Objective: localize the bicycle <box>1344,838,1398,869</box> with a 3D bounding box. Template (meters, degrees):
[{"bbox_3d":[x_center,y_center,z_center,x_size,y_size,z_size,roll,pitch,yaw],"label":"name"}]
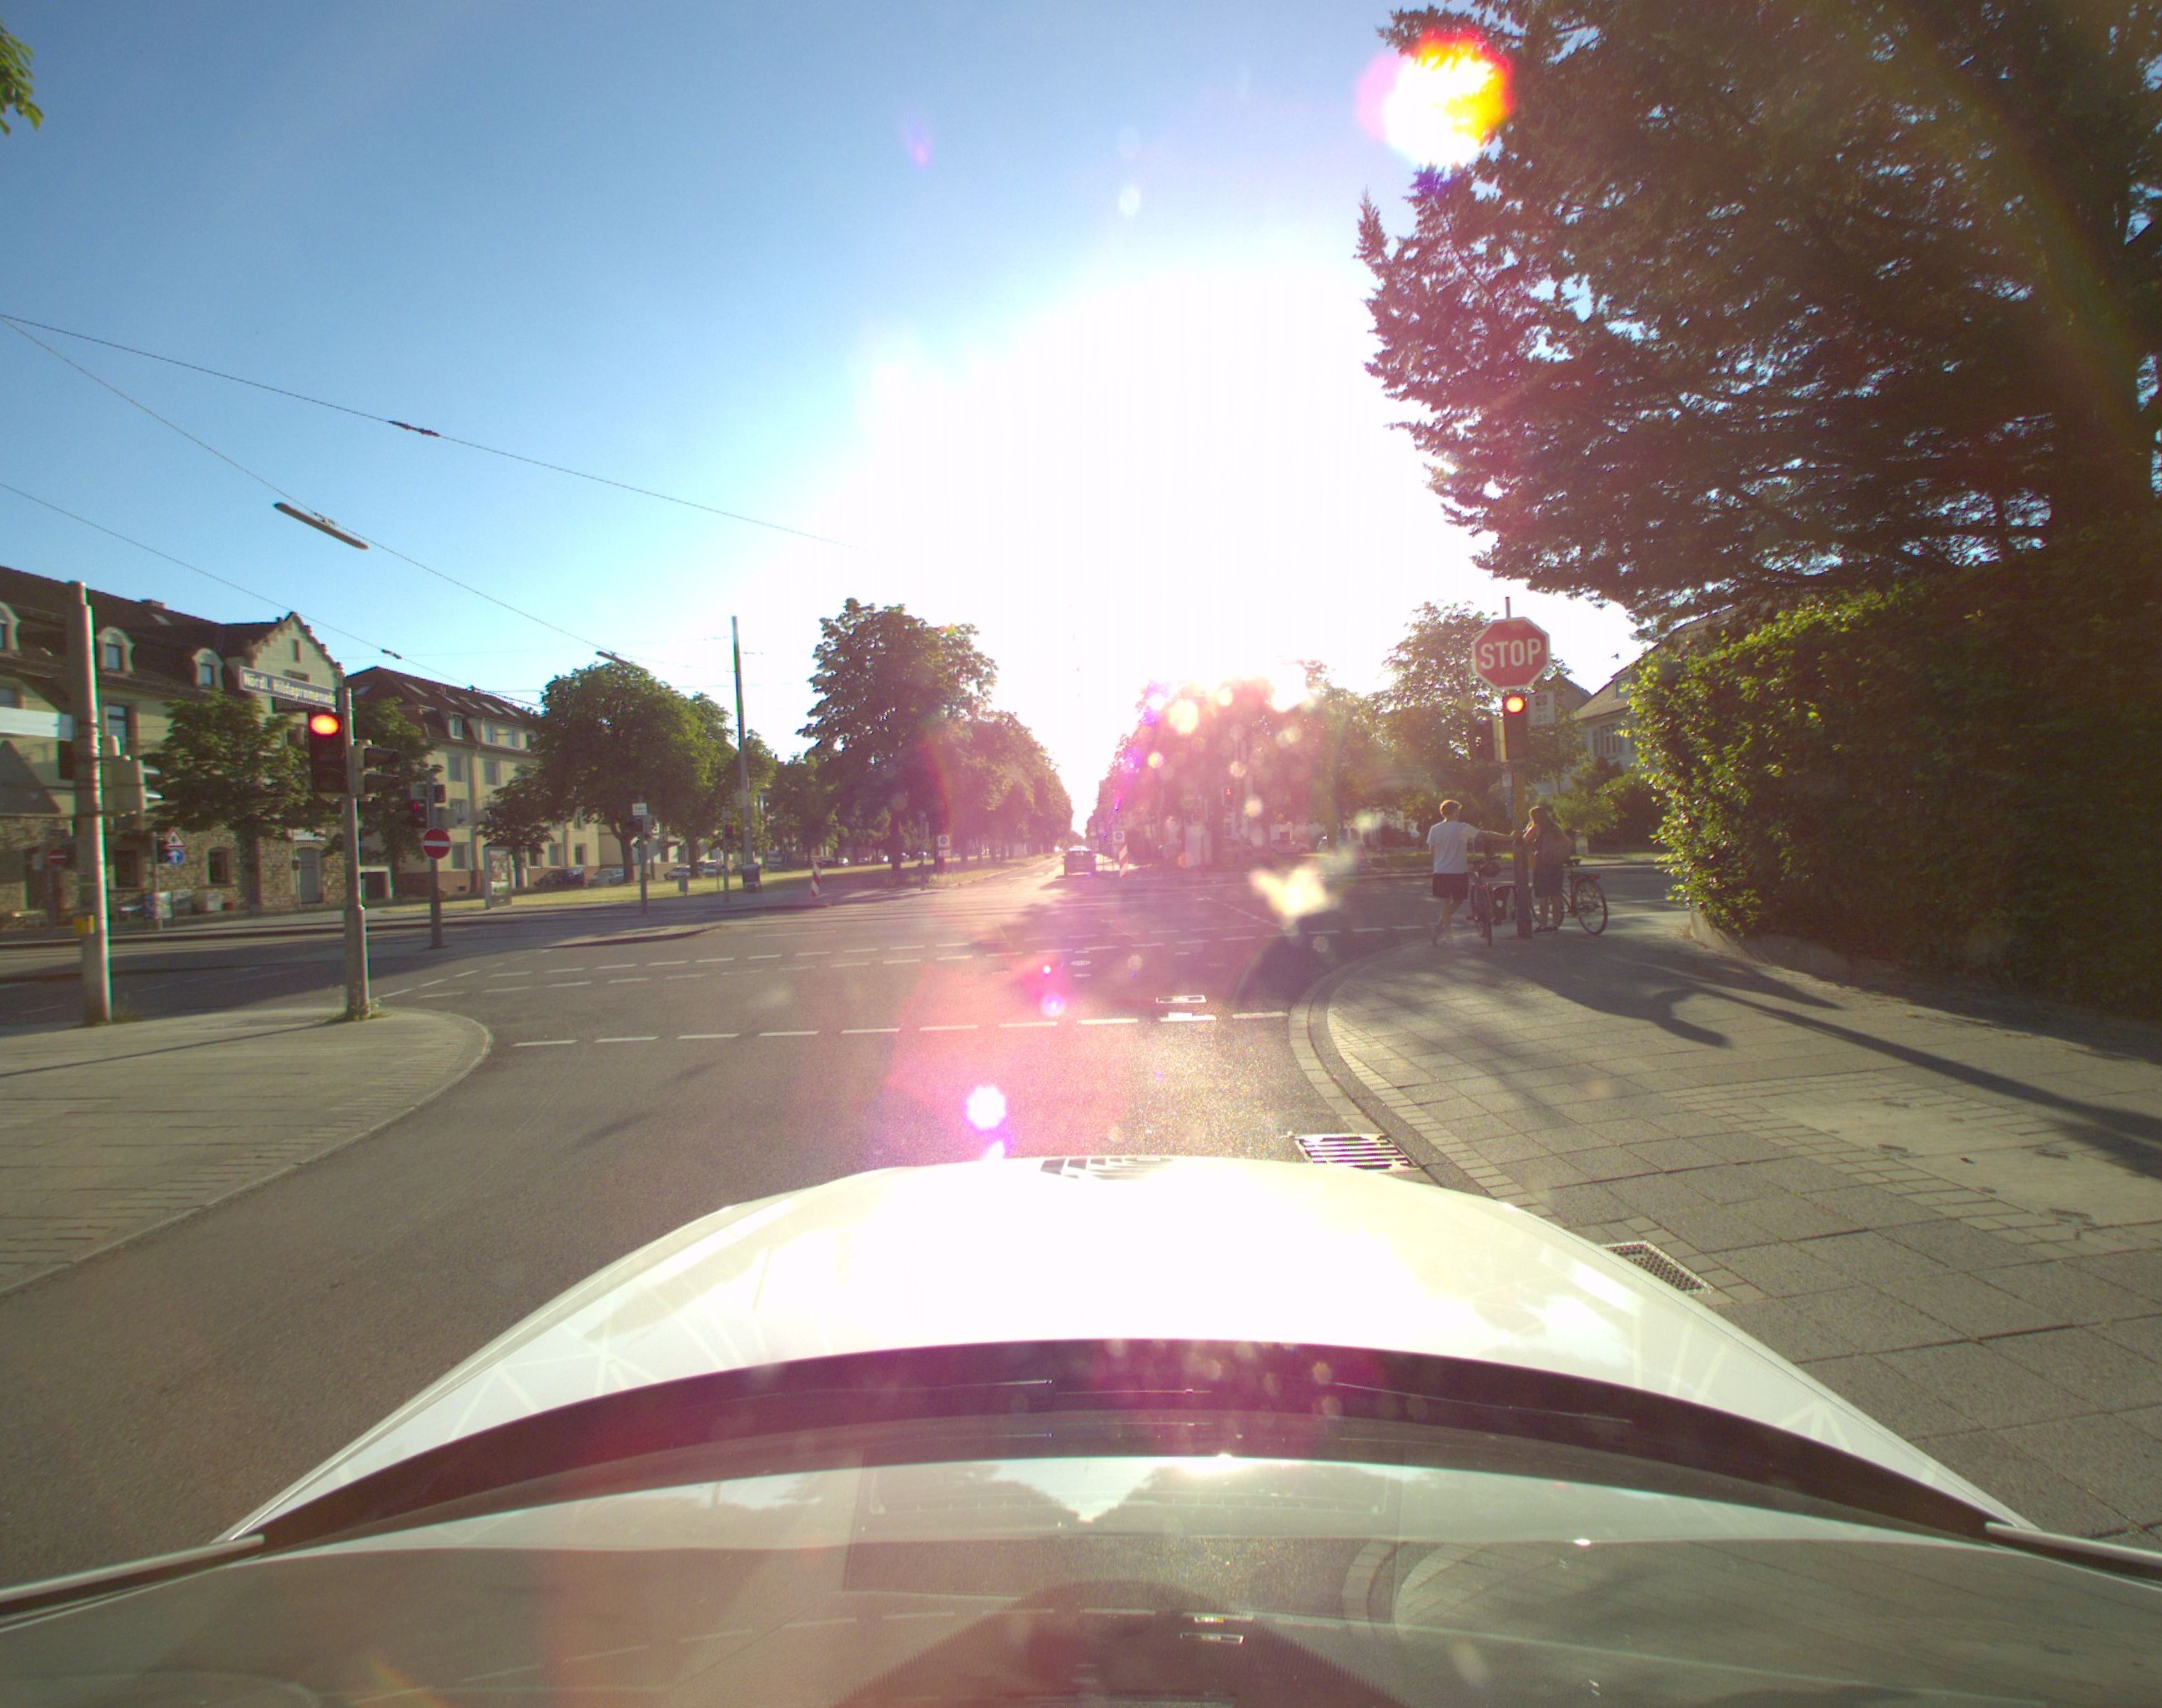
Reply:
[{"bbox_3d":[11.639,-0.020,32.714,1.946,1.132,0.620,-3,0,2],"label":"bicycle"}]

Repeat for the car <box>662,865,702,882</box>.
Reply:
[{"bbox_3d":[-37.340,1.806,76.303,1.732,1.427,3.793,-2,1,1],"label":"car"}]

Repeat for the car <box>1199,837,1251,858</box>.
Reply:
[{"bbox_3d":[11.496,-0.517,65.209,3.767,1.525,1.744,-2,2,0],"label":"car"}]

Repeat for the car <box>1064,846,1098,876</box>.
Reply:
[{"bbox_3d":[0.028,0.349,44.026,1.634,1.450,3.310,-2,1,3],"label":"car"}]

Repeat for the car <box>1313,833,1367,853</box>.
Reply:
[{"bbox_3d":[20.888,-0.898,65.704,3.838,1.427,1.595,-2,0,-4],"label":"car"}]

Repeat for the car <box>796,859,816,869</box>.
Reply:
[{"bbox_3d":[-43.096,1.513,127.638,1.732,1.427,3.793,-2,0,1],"label":"car"}]

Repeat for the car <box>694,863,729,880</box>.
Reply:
[{"bbox_3d":[-37.326,1.771,82.313,1.732,1.427,3.793,-2,2,1],"label":"car"}]

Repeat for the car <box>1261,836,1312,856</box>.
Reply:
[{"bbox_3d":[16.376,-0.639,65.037,3.656,1.427,1.529,-2,0,-4],"label":"car"}]

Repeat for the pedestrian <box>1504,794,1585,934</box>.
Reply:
[{"bbox_3d":[6.007,0.134,10.588,0.663,1.708,0.626,-6,-2,20],"label":"pedestrian"}]

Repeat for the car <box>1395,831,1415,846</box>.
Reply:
[{"bbox_3d":[33.222,-1.596,83.452,1.649,1.417,3.563,-2,0,24],"label":"car"}]

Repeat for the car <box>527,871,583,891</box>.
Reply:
[{"bbox_3d":[-43.122,2.217,66.855,1.729,1.397,3.799,-2,0,6],"label":"car"}]

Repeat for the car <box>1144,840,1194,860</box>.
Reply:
[{"bbox_3d":[6.997,-0.318,64.988,3.767,1.427,1.744,-2,2,0],"label":"car"}]

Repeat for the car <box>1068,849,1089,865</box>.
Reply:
[{"bbox_3d":[-0.225,0.265,78.050,1.839,1.393,3.829,-2,1,1],"label":"car"}]

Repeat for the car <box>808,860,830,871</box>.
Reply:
[{"bbox_3d":[-37.715,1.592,117.254,1.732,1.427,3.793,-2,0,1],"label":"car"}]

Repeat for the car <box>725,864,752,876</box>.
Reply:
[{"bbox_3d":[-43.538,2.021,103.552,1.732,1.427,3.793,-2,0,1],"label":"car"}]

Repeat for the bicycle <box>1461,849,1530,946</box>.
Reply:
[{"bbox_3d":[5.292,0.515,10.476,0.483,1.097,1.800,-5,-1,20],"label":"bicycle"}]

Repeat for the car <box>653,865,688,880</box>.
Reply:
[{"bbox_3d":[-43.926,1.996,87.187,1.732,1.427,3.793,-3,0,1],"label":"car"}]

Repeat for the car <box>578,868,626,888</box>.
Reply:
[{"bbox_3d":[-43.077,2.142,73.272,1.729,1.427,3.800,-2,2,6],"label":"car"}]

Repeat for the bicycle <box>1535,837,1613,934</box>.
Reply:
[{"bbox_3d":[6.347,0.381,10.547,0.483,1.143,1.606,-5,-2,20],"label":"bicycle"}]

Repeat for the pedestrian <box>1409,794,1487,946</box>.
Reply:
[{"bbox_3d":[4.835,0.203,10.723,0.664,1.865,0.887,-8,-3,25],"label":"pedestrian"}]
